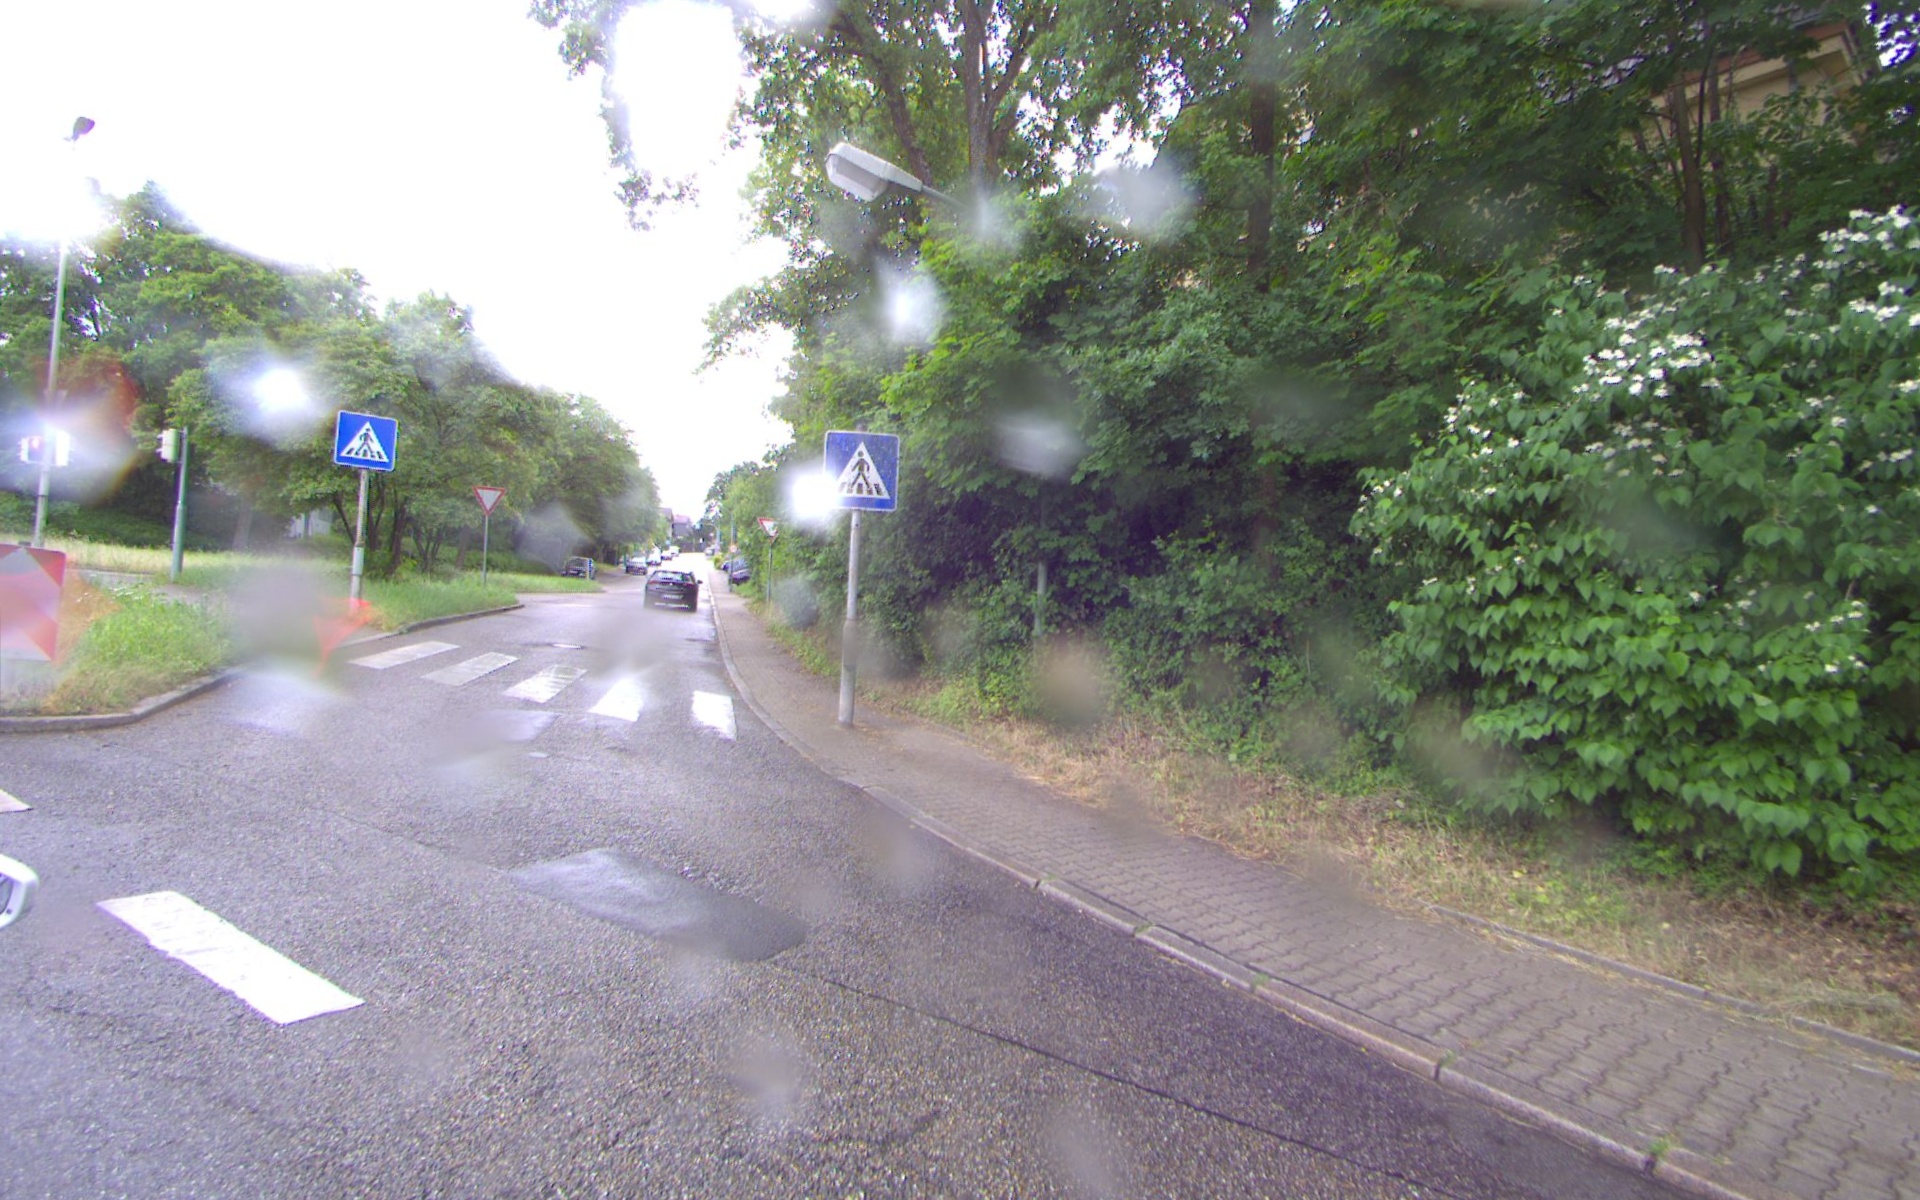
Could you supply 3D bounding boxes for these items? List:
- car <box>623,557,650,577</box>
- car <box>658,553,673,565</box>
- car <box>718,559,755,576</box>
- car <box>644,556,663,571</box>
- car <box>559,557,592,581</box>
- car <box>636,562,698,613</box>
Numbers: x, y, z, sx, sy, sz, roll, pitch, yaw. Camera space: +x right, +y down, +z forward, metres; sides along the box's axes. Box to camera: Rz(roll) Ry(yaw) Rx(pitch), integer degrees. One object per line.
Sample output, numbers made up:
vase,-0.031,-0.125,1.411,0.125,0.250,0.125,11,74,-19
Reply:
car,-30.094,-3.055,93.731,1.874,1.467,4.285,7,-2,-13
car,-46.766,-6.509,159.507,1.877,1.413,4.151,7,-2,-20
car,-25.760,-3.733,116.093,3.939,1.594,1.766,5,1,-18
car,-37.699,-4.474,123.644,1.968,1.463,4.278,7,-2,-19
car,-25.876,-2.103,67.737,1.651,1.387,3.477,6,0,-16
car,-10.393,-0.484,35.888,1.789,1.461,4.148,6,1,-14
